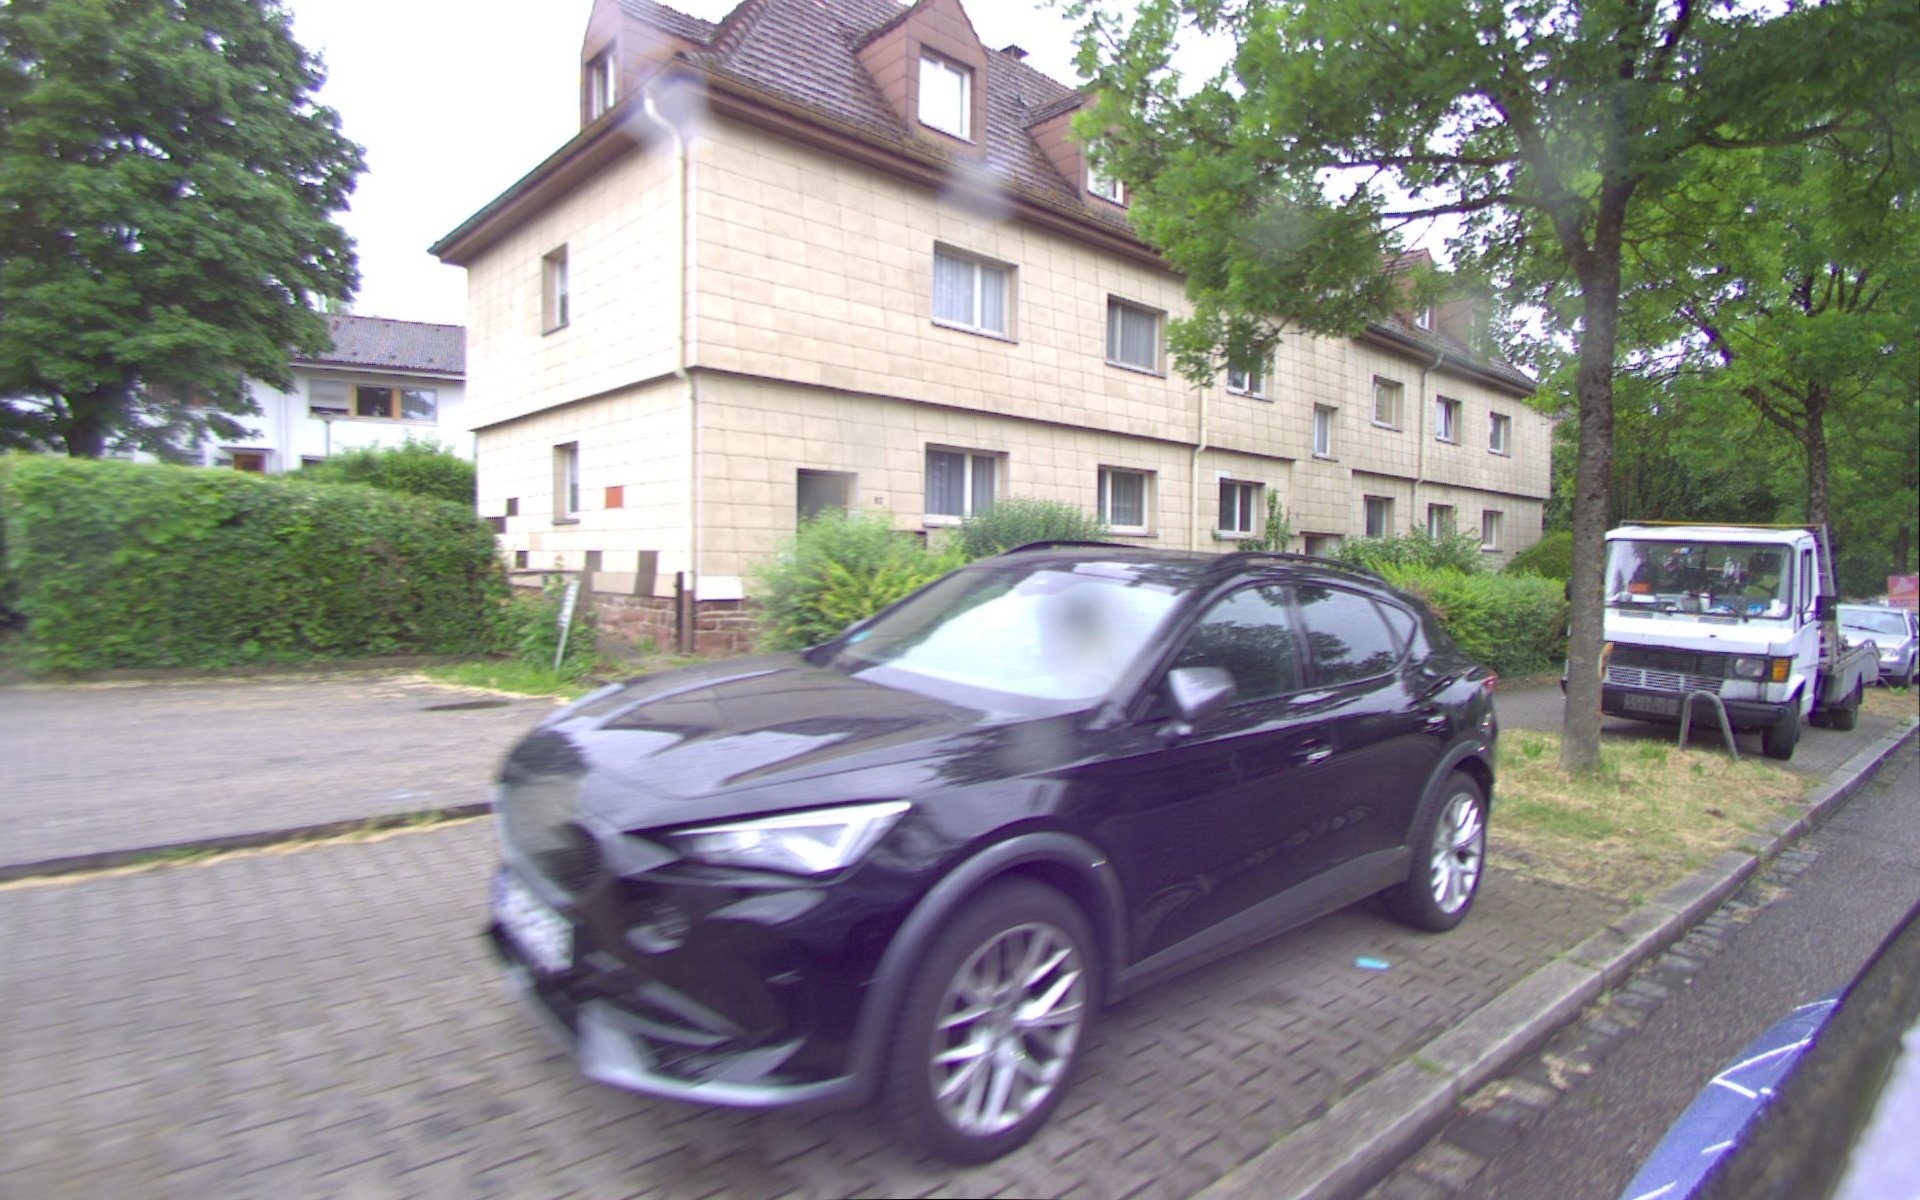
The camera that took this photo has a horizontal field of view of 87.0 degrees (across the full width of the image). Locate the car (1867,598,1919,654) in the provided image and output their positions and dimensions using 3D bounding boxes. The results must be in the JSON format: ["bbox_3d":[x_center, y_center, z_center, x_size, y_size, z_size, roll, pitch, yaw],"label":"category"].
[{"bbox_3d":[26.558,0.719,27.992,4.423,1.406,1.691,1,4,-43],"label":"car"}]

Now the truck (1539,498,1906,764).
[{"bbox_3d":[8.937,0.206,11.536,6.391,2.248,2.084,0,4,-43],"label":"truck"}]

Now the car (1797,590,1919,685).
[{"bbox_3d":[16.953,0.664,18.672,3.951,1.453,1.605,2,4,-41],"label":"car"}]

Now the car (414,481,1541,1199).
[{"bbox_3d":[0.454,0.495,3.801,4.111,1.516,1.718,1,4,-42],"label":"car"}]
